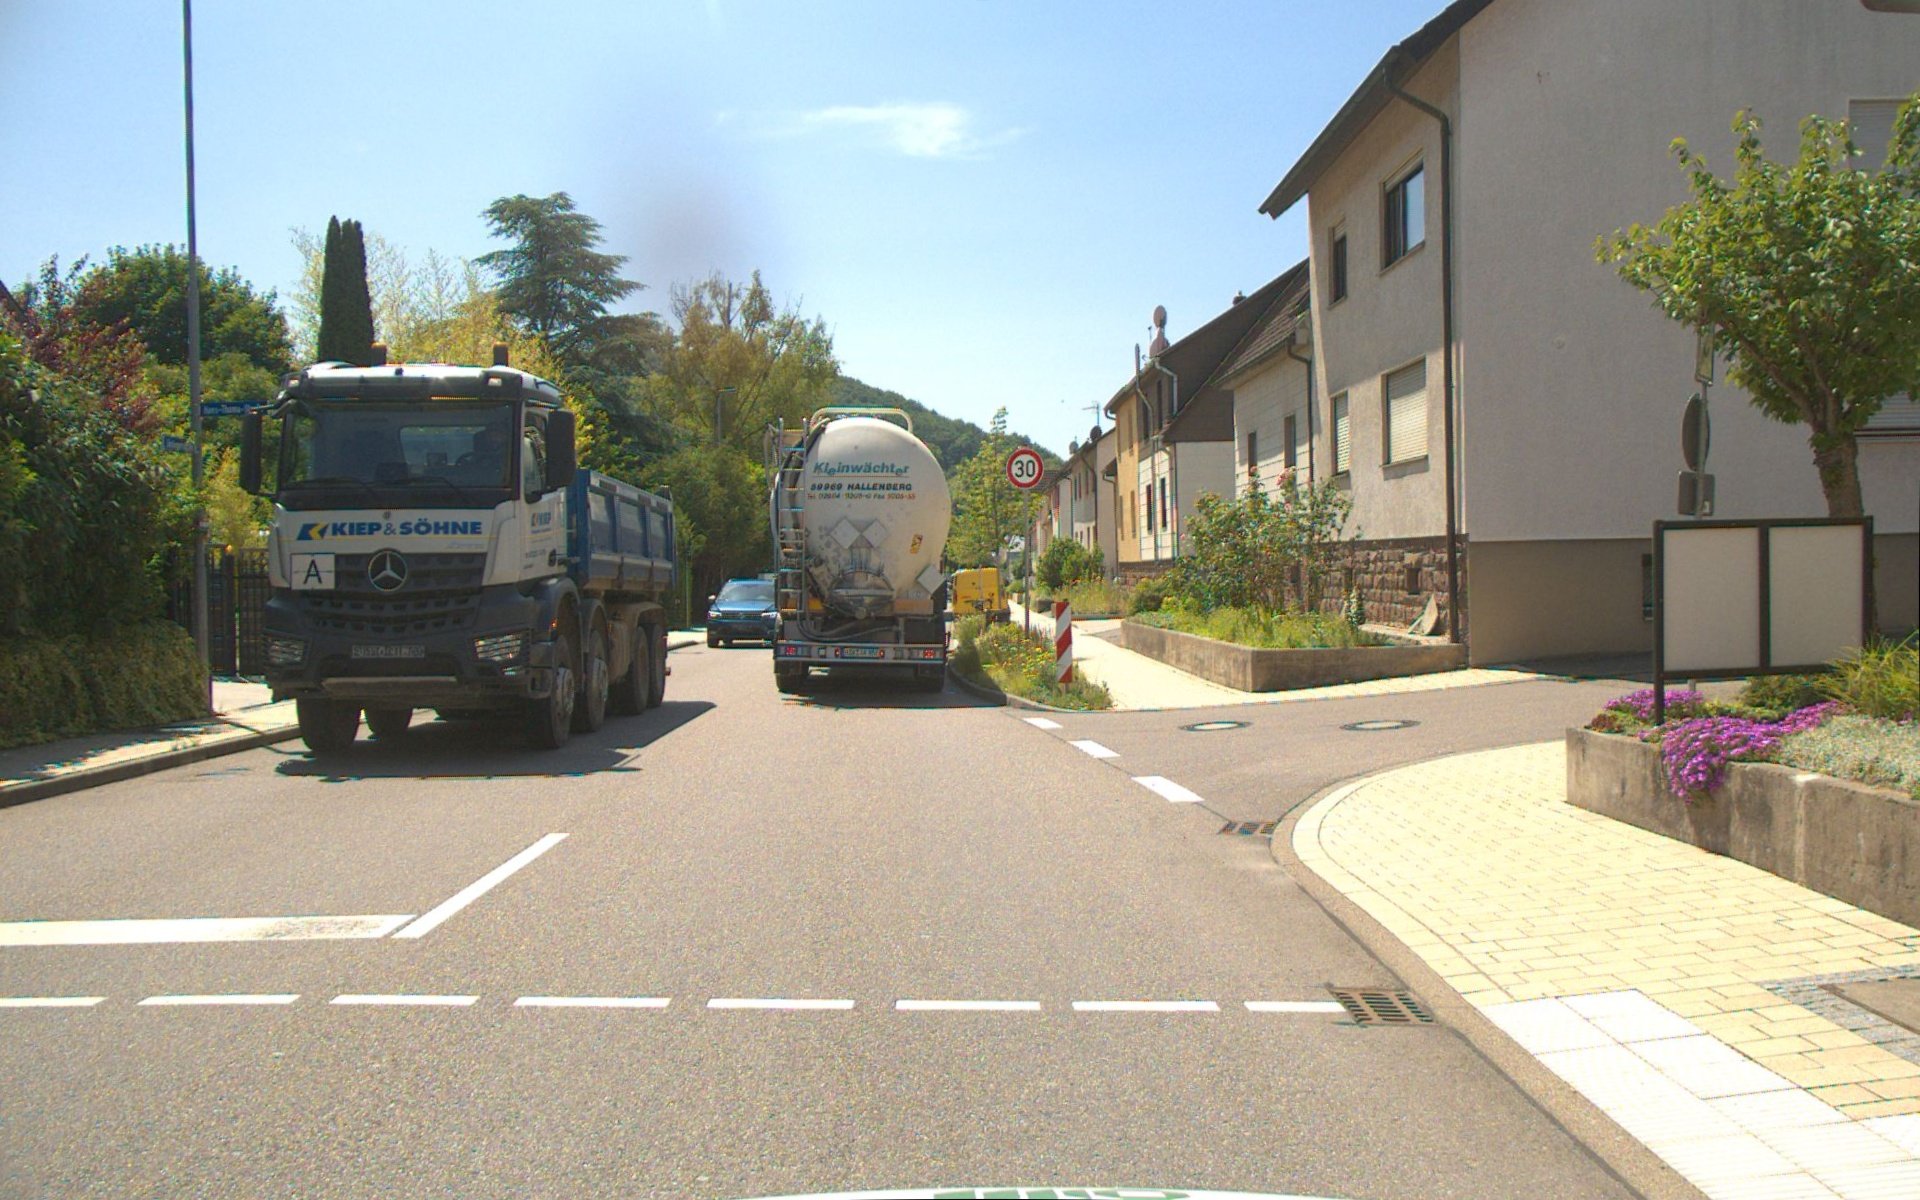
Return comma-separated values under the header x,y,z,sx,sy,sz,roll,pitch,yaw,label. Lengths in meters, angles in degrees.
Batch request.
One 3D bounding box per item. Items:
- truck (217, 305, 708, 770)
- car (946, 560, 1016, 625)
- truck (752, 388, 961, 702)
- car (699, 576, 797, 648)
x,y,z,sx,sy,sz,roll,pitch,yaw,label
-4.797,-0.566,18.063,2.489,3.803,8.623,-1,1,1,truck
0.694,-0.263,59.600,2.146,2.048,5.621,-5,0,-1,car
-1.356,-0.802,27.170,2.694,4.127,10.890,0,1,0,truck
-5.246,0.293,41.527,1.849,1.674,4.613,1,0,0,car
